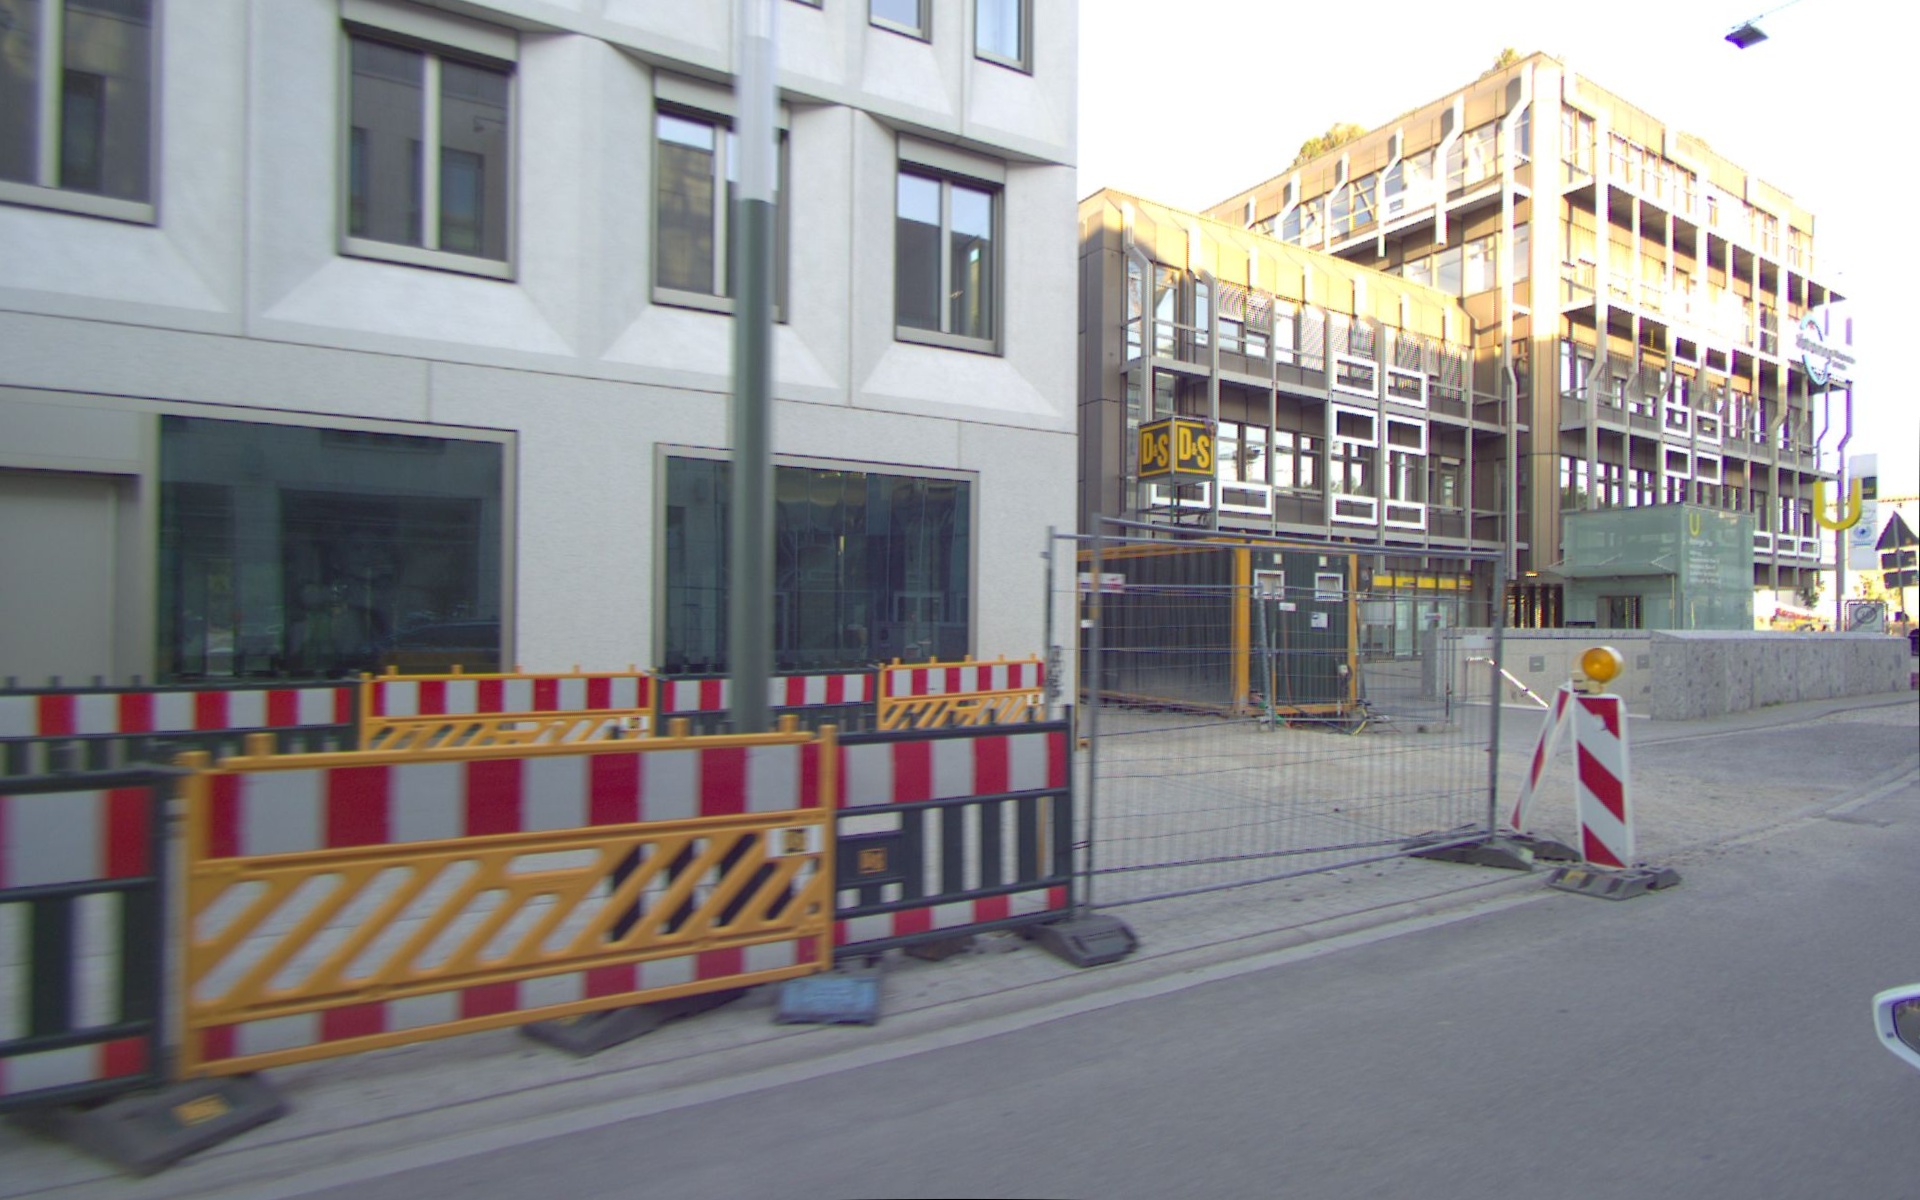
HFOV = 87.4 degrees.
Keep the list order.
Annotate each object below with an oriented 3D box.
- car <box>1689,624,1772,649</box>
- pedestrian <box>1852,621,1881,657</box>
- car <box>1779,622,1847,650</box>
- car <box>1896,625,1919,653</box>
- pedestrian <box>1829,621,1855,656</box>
[{"bbox_3d":[51.924,2.420,67.745,1.680,1.613,4.152,1,-1,-36],"label":"car"},{"bbox_3d":[46.186,1.978,51.194,0.726,1.800,0.863,-2,-3,20],"label":"pedestrian"},{"bbox_3d":[54.153,2.267,63.762,1.599,1.707,3.104,1,-1,-41],"label":"car"},{"bbox_3d":[54.057,2.141,54.490,2.103,1.515,4.438,1,-1,-31],"label":"car"},{"bbox_3d":[45.647,2.011,51.973,0.727,1.800,0.863,-2,-3,26],"label":"pedestrian"}]
